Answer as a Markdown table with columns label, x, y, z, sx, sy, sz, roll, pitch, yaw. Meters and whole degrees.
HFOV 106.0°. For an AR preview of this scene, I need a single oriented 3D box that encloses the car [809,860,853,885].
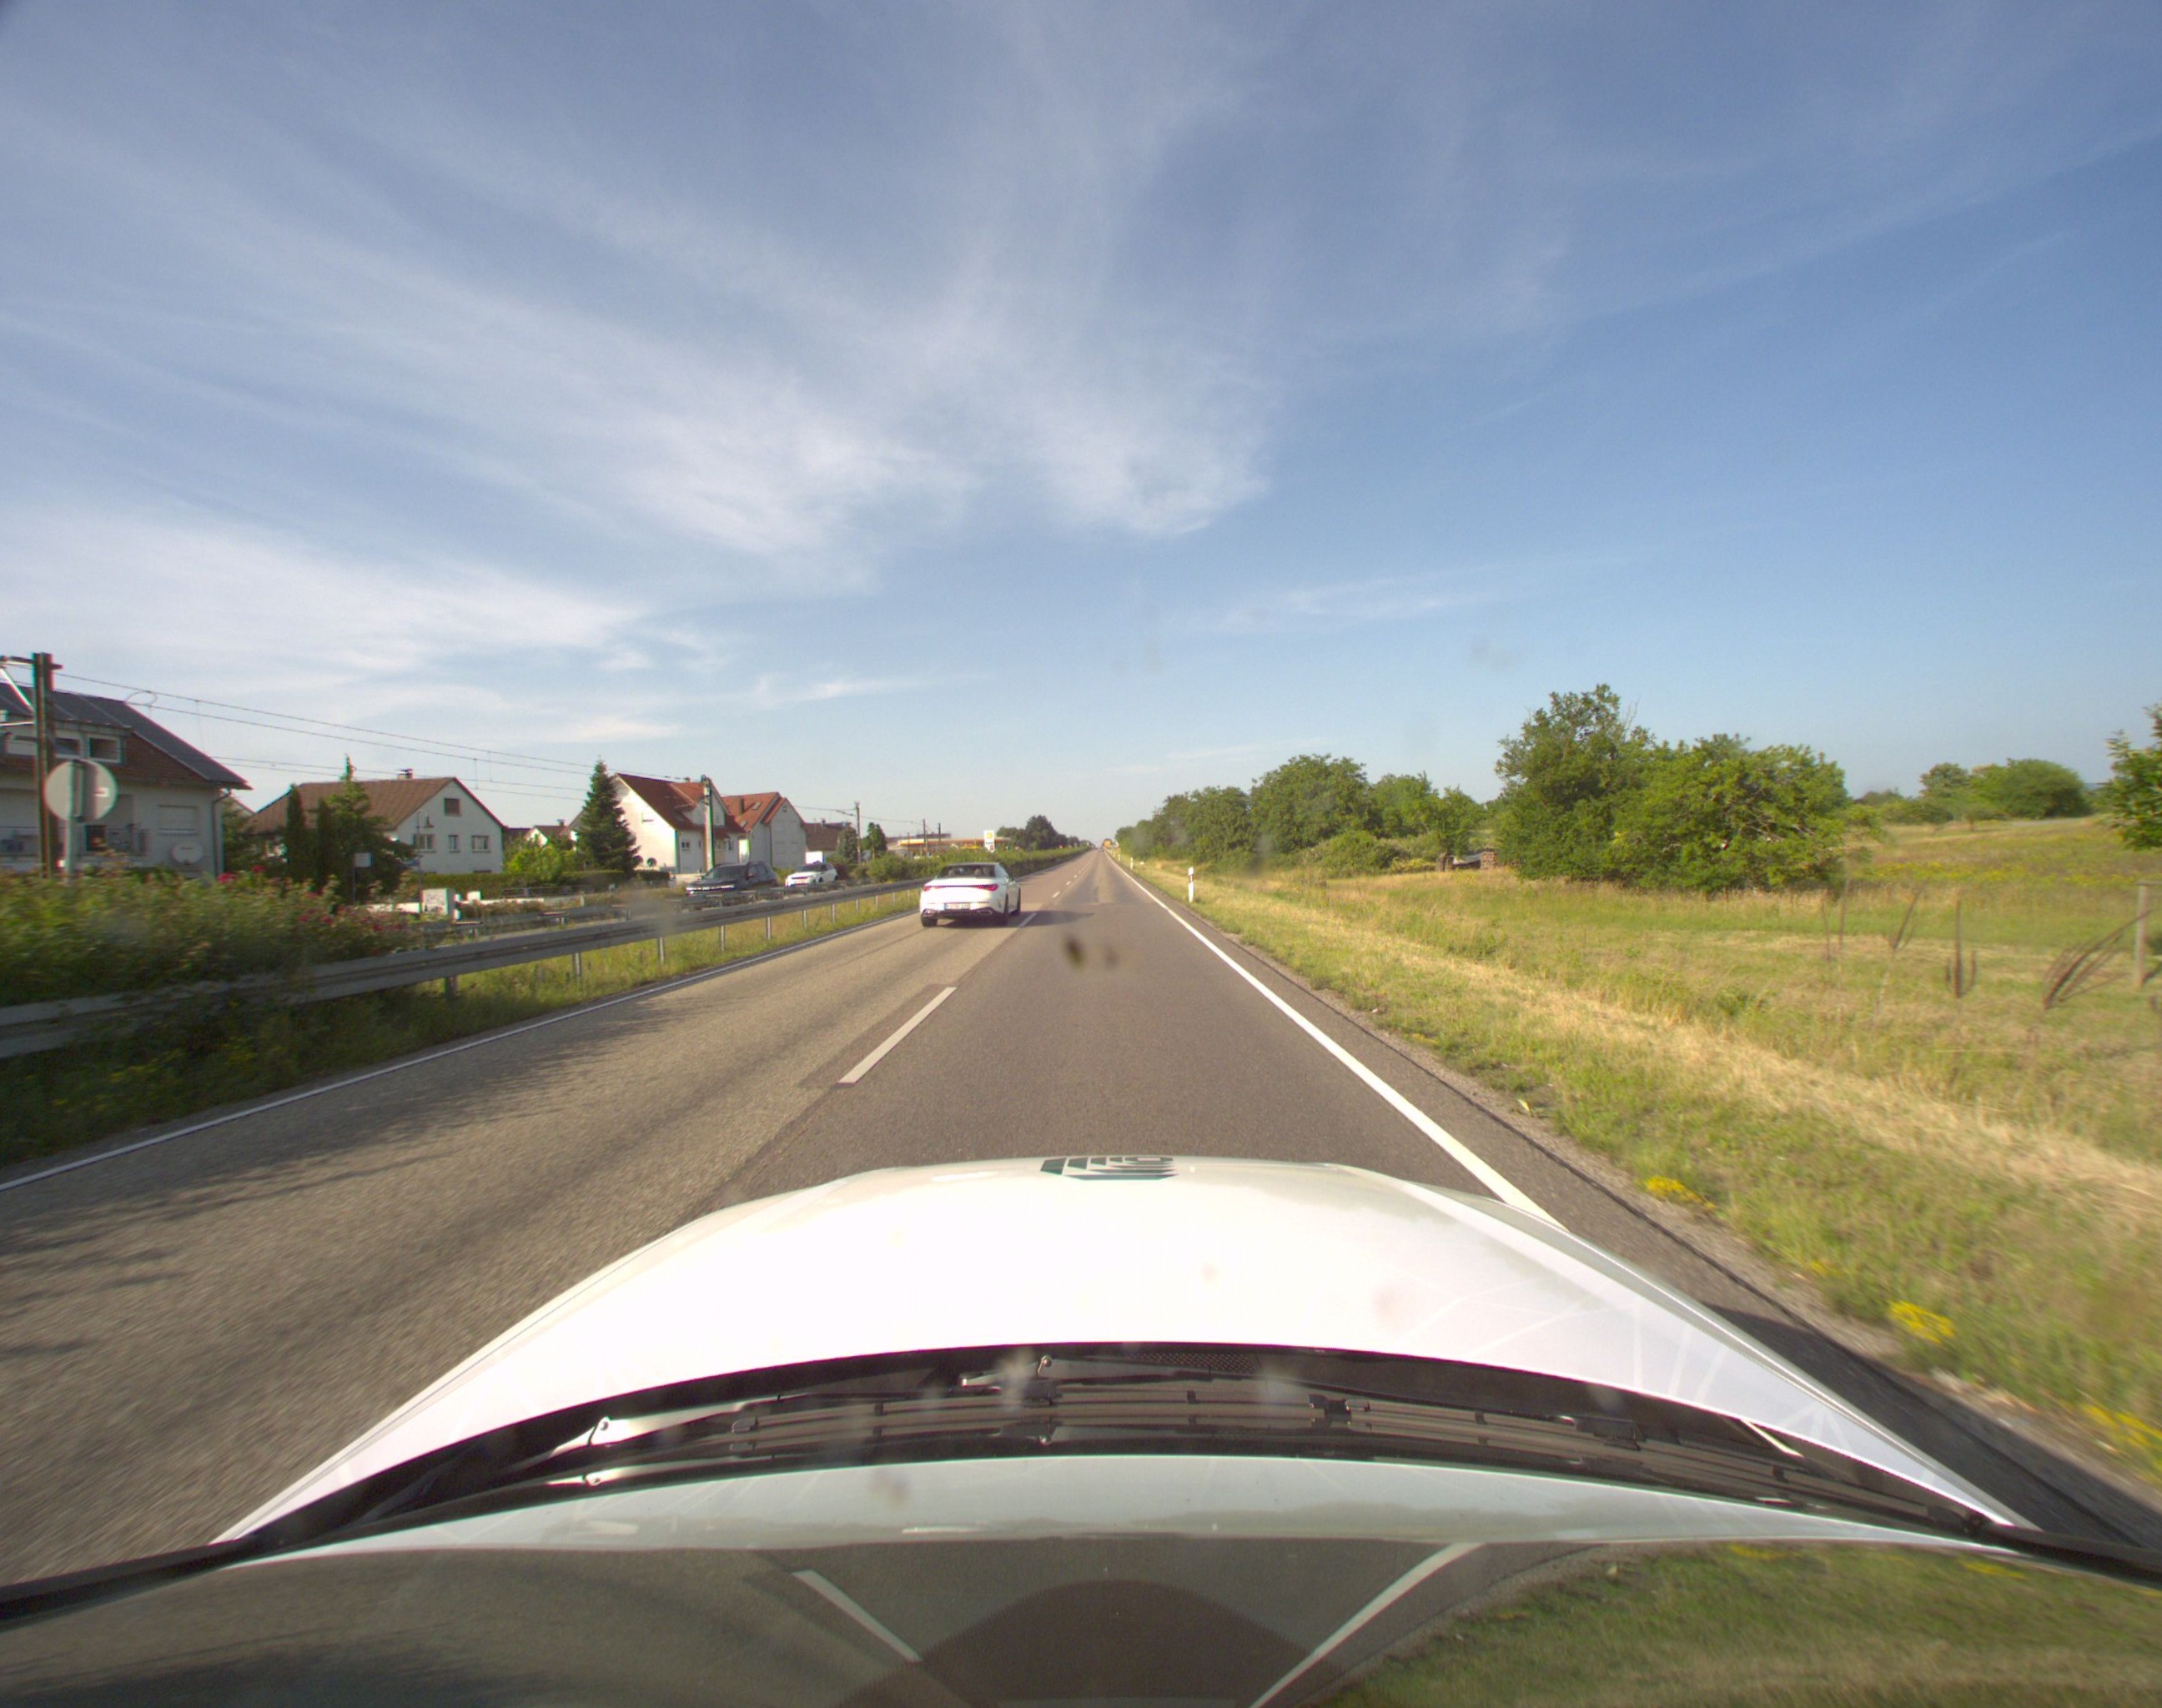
| label | x | y | z | sx | sy | sz | roll | pitch | yaw |
| --- | --- | --- | --- | --- | --- | --- | --- | --- | --- |
| car | -18.476 | 1.340 | 60.370 | 1.986 | 1.750 | 4.001 | 0 | 0 | 1 |

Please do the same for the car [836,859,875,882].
| label | x | y | z | sx | sy | sz | roll | pitch | yaw |
| --- | --- | --- | --- | --- | --- | --- | --- | --- | --- |
| car | -18.340 | 1.345 | 66.357 | 1.986 | 1.750 | 4.001 | 0 | 0 | 1 |

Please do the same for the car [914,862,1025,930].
| label | x | y | z | sx | sy | sz | roll | pitch | yaw |
| --- | --- | --- | --- | --- | --- | --- | --- | --- | --- |
| car | -2.446 | 0.880 | 19.064 | 1.764 | 1.337 | 4.952 | 0 | 0 | 2 |

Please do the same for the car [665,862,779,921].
| label | x | y | z | sx | sy | sz | roll | pitch | yaw |
| --- | --- | --- | --- | --- | --- | --- | --- | --- | --- |
| car | -11.943 | 1.185 | 27.432 | 1.723 | 1.634 | 4.320 | -4 | 0 | 1 |

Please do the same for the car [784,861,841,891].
| label | x | y | z | sx | sy | sz | roll | pitch | yaw |
| --- | --- | --- | --- | --- | --- | --- | --- | --- | --- |
| car | -15.308 | 1.214 | 46.644 | 1.709 | 1.611 | 4.447 | 0 | 0 | 1 |
